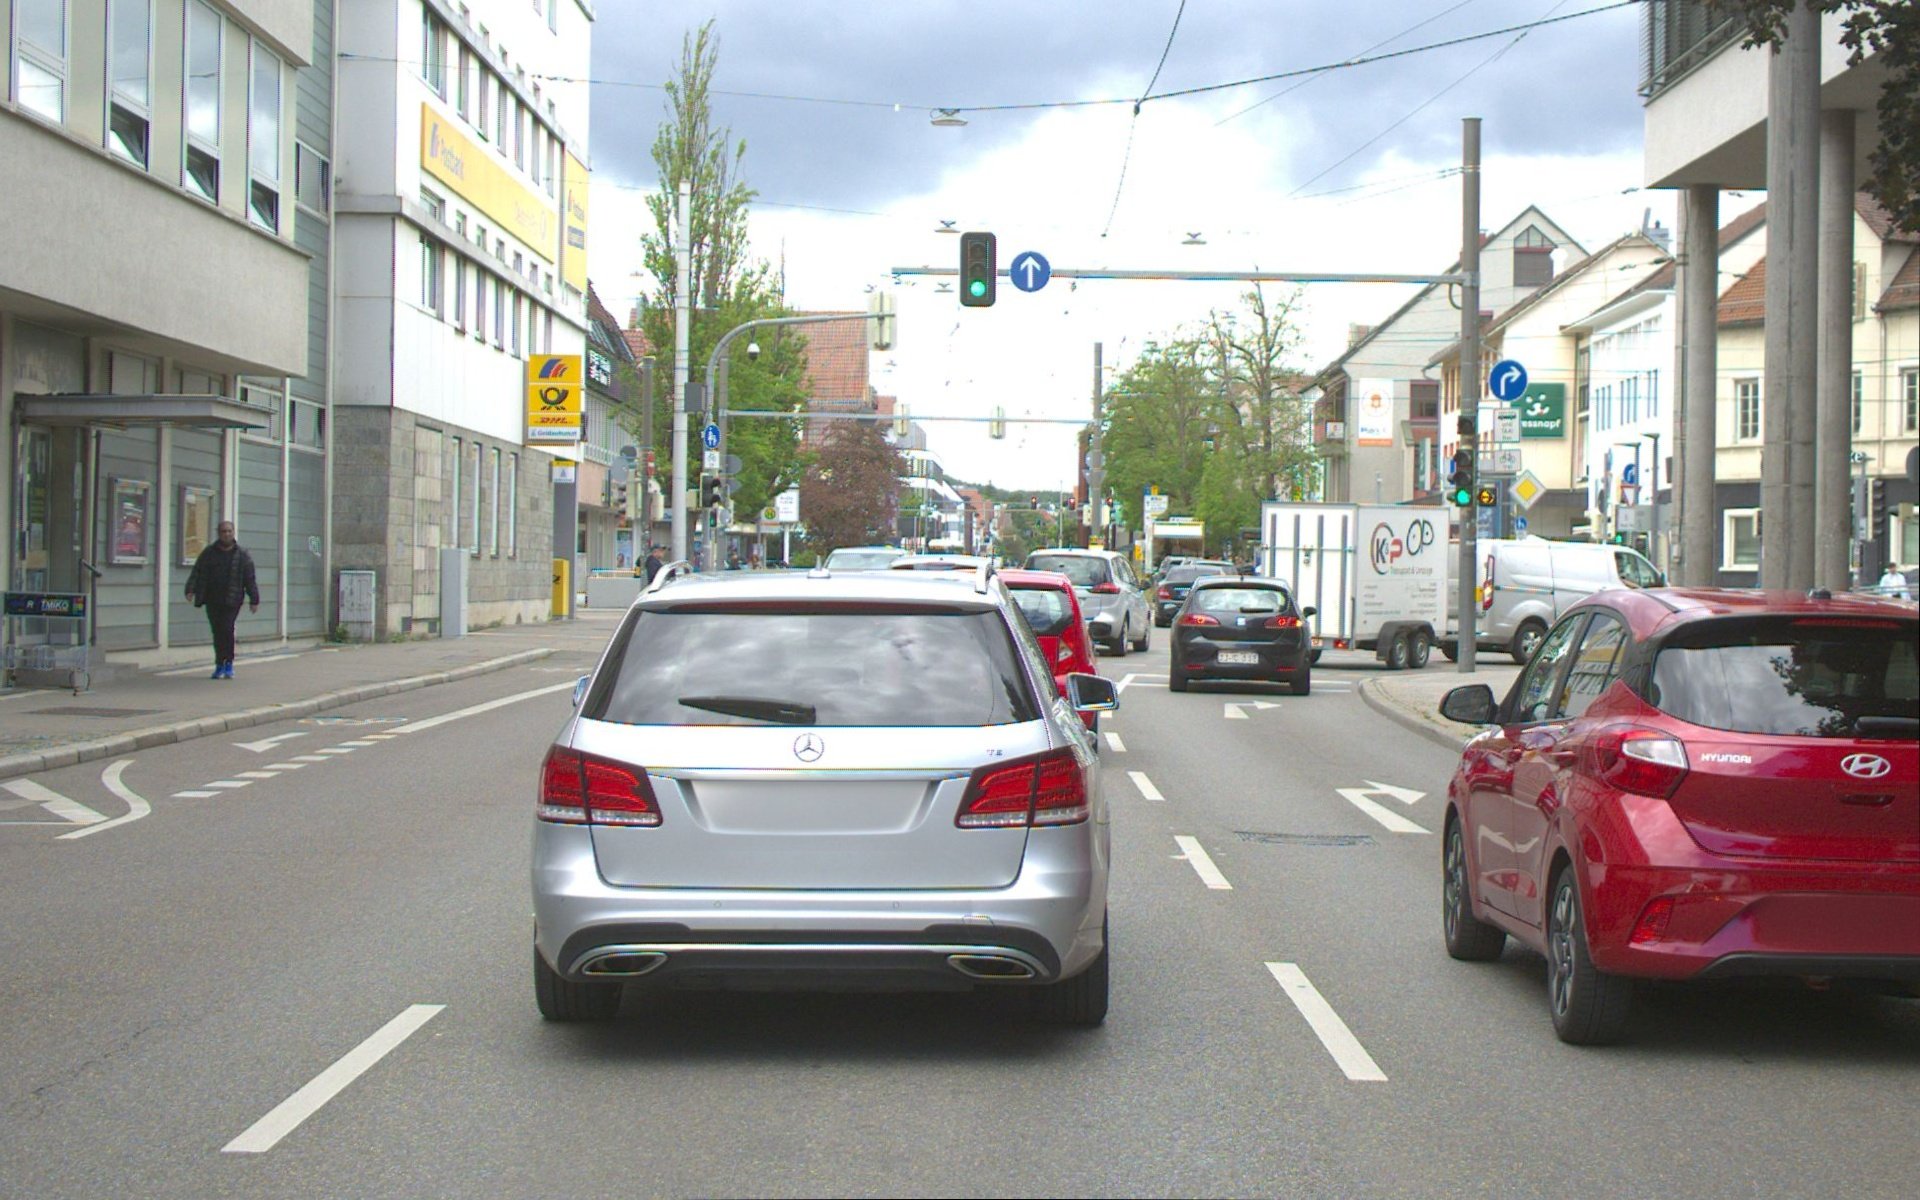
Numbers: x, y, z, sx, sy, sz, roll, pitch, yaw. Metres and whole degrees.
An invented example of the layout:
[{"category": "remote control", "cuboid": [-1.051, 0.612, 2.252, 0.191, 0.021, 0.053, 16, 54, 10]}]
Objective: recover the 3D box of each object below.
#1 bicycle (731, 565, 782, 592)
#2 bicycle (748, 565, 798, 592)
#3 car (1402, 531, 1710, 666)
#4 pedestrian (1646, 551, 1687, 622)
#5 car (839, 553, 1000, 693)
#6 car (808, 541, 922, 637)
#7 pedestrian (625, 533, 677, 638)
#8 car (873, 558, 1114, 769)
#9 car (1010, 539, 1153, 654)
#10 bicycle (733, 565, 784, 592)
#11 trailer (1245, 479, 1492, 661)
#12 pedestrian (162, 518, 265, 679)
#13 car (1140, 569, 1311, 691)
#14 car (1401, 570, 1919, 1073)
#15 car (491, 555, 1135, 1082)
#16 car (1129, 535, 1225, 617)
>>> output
[{"category": "bicycle", "cuboid": [-8.132, -0.863, 137.324, 1.937, 1.025, 0.530, 2, 0, -8]}, {"category": "bicycle", "cuboid": [-7.647, -0.882, 140.639, 1.937, 1.025, 0.530, 2, 0, -8]}, {"category": "car", "cuboid": [9.766, -0.018, 56.188, 4.890, 1.939, 1.884, 3, 1, -33]}, {"category": "pedestrian", "cuboid": [17.161, -0.334, 83.452, 0.702, 1.712, 0.650, 0, 1, -33]}, {"category": "car", "cuboid": [-0.489, 0.222, 39.342, 1.734, 1.503, 4.000, 1, 1, -1]}, {"category": "car", "cuboid": [-1.640, -0.226, 60.788, 1.776, 1.626, 4.768, 0, 1, 1]}, {"category": "pedestrian", "cuboid": [-5.147, -0.244, 57.328, 0.648, 1.712, 0.782, 2, 1, 8]}, {"category": "car", "cuboid": [0.275, 0.435, 26.990, 1.734, 1.503, 4.000, 1, 1, 1]}, {"category": "car", "cuboid": [1.995, -0.079, 55.300, 1.735, 1.753, 3.998, 1, 1, 10]}, {"category": "bicycle", "cuboid": [-8.004, -0.852, 136.661, 1.937, 1.025, 0.530, 2, 0, -8]}, {"category": "trailer", "cuboid": [6.345, -0.432, 52.994, 1.881, 2.604, 4.314, 4, 1, 34]}, {"category": "pedestrian", "cuboid": [-8.162, -0.024, 37.606, 0.861, 1.712, 1.032, 2, 1, -1]}, {"category": "car", "cuboid": [3.293, 0.344, 43.263, 1.734, 1.406, 4.000, 1, 1, -1]}, {"category": "car", "cuboid": [2.740, 0.670, 12.373, 1.698, 1.447, 4.000, 3, 1, 0]}, {"category": "car", "cuboid": [-0.470, 0.606, 12.011, 1.845, 1.503, 4.171, 1, 1, -1]}, {"category": "car", "cuboid": [4.882, -0.562, 77.708, 1.828, 1.779, 4.000, 1, 1, -1]}]
